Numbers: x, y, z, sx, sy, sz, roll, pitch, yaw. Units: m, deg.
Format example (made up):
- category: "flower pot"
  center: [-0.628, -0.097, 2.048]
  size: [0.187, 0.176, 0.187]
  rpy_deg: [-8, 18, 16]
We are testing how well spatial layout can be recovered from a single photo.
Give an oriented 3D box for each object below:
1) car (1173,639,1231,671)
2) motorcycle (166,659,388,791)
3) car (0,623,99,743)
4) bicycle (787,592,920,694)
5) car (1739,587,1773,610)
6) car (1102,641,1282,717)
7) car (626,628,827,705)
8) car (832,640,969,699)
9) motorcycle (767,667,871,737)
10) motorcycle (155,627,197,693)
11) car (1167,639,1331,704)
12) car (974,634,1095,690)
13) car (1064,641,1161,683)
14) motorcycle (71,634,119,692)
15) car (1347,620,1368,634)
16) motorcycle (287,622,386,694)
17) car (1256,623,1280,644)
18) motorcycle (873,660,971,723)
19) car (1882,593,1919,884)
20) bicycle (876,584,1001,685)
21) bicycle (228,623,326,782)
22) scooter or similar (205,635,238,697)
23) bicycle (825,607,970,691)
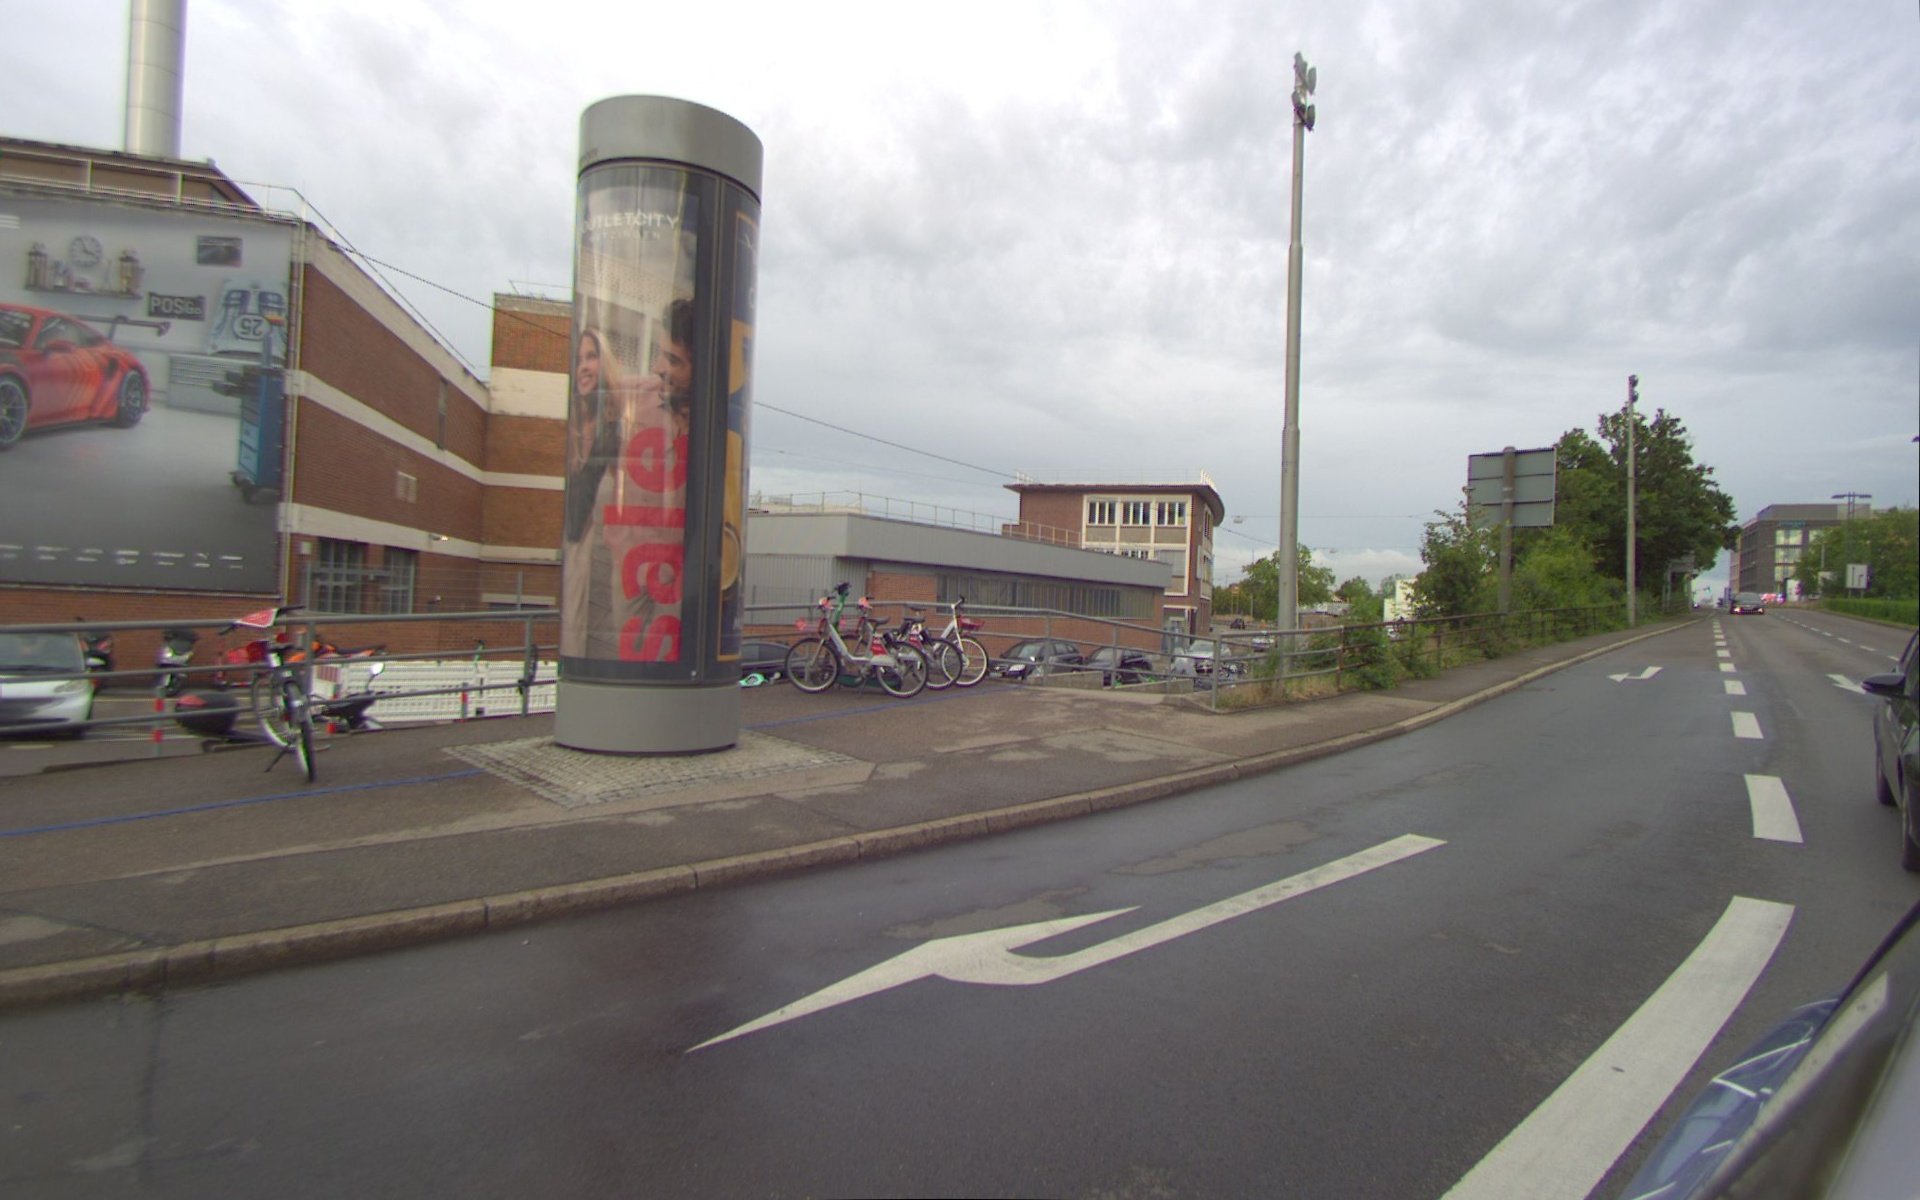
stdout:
- category: "car"
  center: [12.142, 2.703, 50.644]
  size: [1.720, 1.406, 3.955]
  rpy_deg: [1, -1, 31]
- category: "motorcycle"
  center: [-5.732, 1.014, 8.571]
  size: [0.400, 0.901, 1.521]
  rpy_deg: [1, 1, 36]
- category: "car"
  center: [-14.072, 1.159, 15.237]
  size: [1.541, 1.508, 3.992]
  rpy_deg: [2, -1, -42]
- category: "bicycle"
  center: [-1.218, 0.481, 11.651]
  size: [1.438, 1.087, 0.442]
  rpy_deg: [2, 2, 9]
- category: "car"
  center: [53.474, -0.139, 67.960]
  size: [1.741, 1.493, 4.011]
  rpy_deg: [0, 1, 39]
- category: "car"
  center: [5.374, 1.785, 23.875]
  size: [1.688, 1.444, 3.999]
  rpy_deg: [2, -1, -36]
- category: "car"
  center: [-5.391, 1.474, 23.897]
  size: [1.880, 1.570, 4.445]
  rpy_deg: [1, -1, 38]
- category: "car"
  center: [-1.643, 1.917, 28.949]
  size: [1.712, 1.444, 3.943]
  rpy_deg: [1, -1, 39]
- category: "motorcycle"
  center: [-2.126, 1.517, 15.204]
  size: [1.600, 0.933, 0.417]
  rpy_deg: [0, 0, 27]
- category: "motorcycle"
  center: [-15.225, 1.143, 19.675]
  size: [0.574, 1.166, 1.720]
  rpy_deg: [-1, 0, -35]
- category: "car"
  center: [7.613, 1.841, 26.951]
  size: [1.688, 1.444, 3.999]
  rpy_deg: [2, -1, -36]
- category: "car"
  center: [2.592, 2.044, 34.335]
  size: [1.777, 1.688, 4.438]
  rpy_deg: [1, -1, 41]
- category: "car"
  center: [5.935, 2.340, 39.006]
  size: [1.713, 1.422, 4.211]
  rpy_deg: [1, -1, 41]
- category: "motorcycle"
  center: [-16.195, 1.158, 18.977]
  size: [0.531, 0.985, 1.616]
  rpy_deg: [-1, 0, -35]
- category: "car"
  center: [44.521, 2.983, 113.440]
  size: [1.695, 1.444, 3.982]
  rpy_deg: [1, 0, 14]
- category: "motorcycle"
  center: [-12.814, 1.168, 20.838]
  size: [0.521, 1.350, 1.646]
  rpy_deg: [-1, 0, 38]
- category: "car"
  center: [23.287, 2.526, 76.408]
  size: [1.698, 1.444, 3.976]
  rpy_deg: [1, 0, 18]
- category: "motorcycle"
  center: [-0.628, 1.479, 16.592]
  size: [1.599, 0.933, 0.418]
  rpy_deg: [0, 0, 25]
- category: "car"
  center: [6.780, 0.732, 6.069]
  size: [1.687, 1.526, 3.953]
  rpy_deg: [0, 1, 40]
- category: "bicycle"
  center: [-0.278, 0.414, 12.841]
  size: [1.527, 1.169, 0.448]
  rpy_deg: [3, 3, 22]
- category: "bicycle"
  center: [-4.828, 0.662, 7.120]
  size: [0.414, 0.933, 1.615]
  rpy_deg: [1, 0, -39]
- category: "scooter or similar"
  center: [-14.655, 1.284, 20.091]
  size: [0.495, 1.110, 1.639]
  rpy_deg: [-1, 0, -35]
- category: "bicycle"
  center: [-0.732, 0.575, 12.121]
  size: [1.673, 0.933, 0.486]
  rpy_deg: [1, 1, 4]
